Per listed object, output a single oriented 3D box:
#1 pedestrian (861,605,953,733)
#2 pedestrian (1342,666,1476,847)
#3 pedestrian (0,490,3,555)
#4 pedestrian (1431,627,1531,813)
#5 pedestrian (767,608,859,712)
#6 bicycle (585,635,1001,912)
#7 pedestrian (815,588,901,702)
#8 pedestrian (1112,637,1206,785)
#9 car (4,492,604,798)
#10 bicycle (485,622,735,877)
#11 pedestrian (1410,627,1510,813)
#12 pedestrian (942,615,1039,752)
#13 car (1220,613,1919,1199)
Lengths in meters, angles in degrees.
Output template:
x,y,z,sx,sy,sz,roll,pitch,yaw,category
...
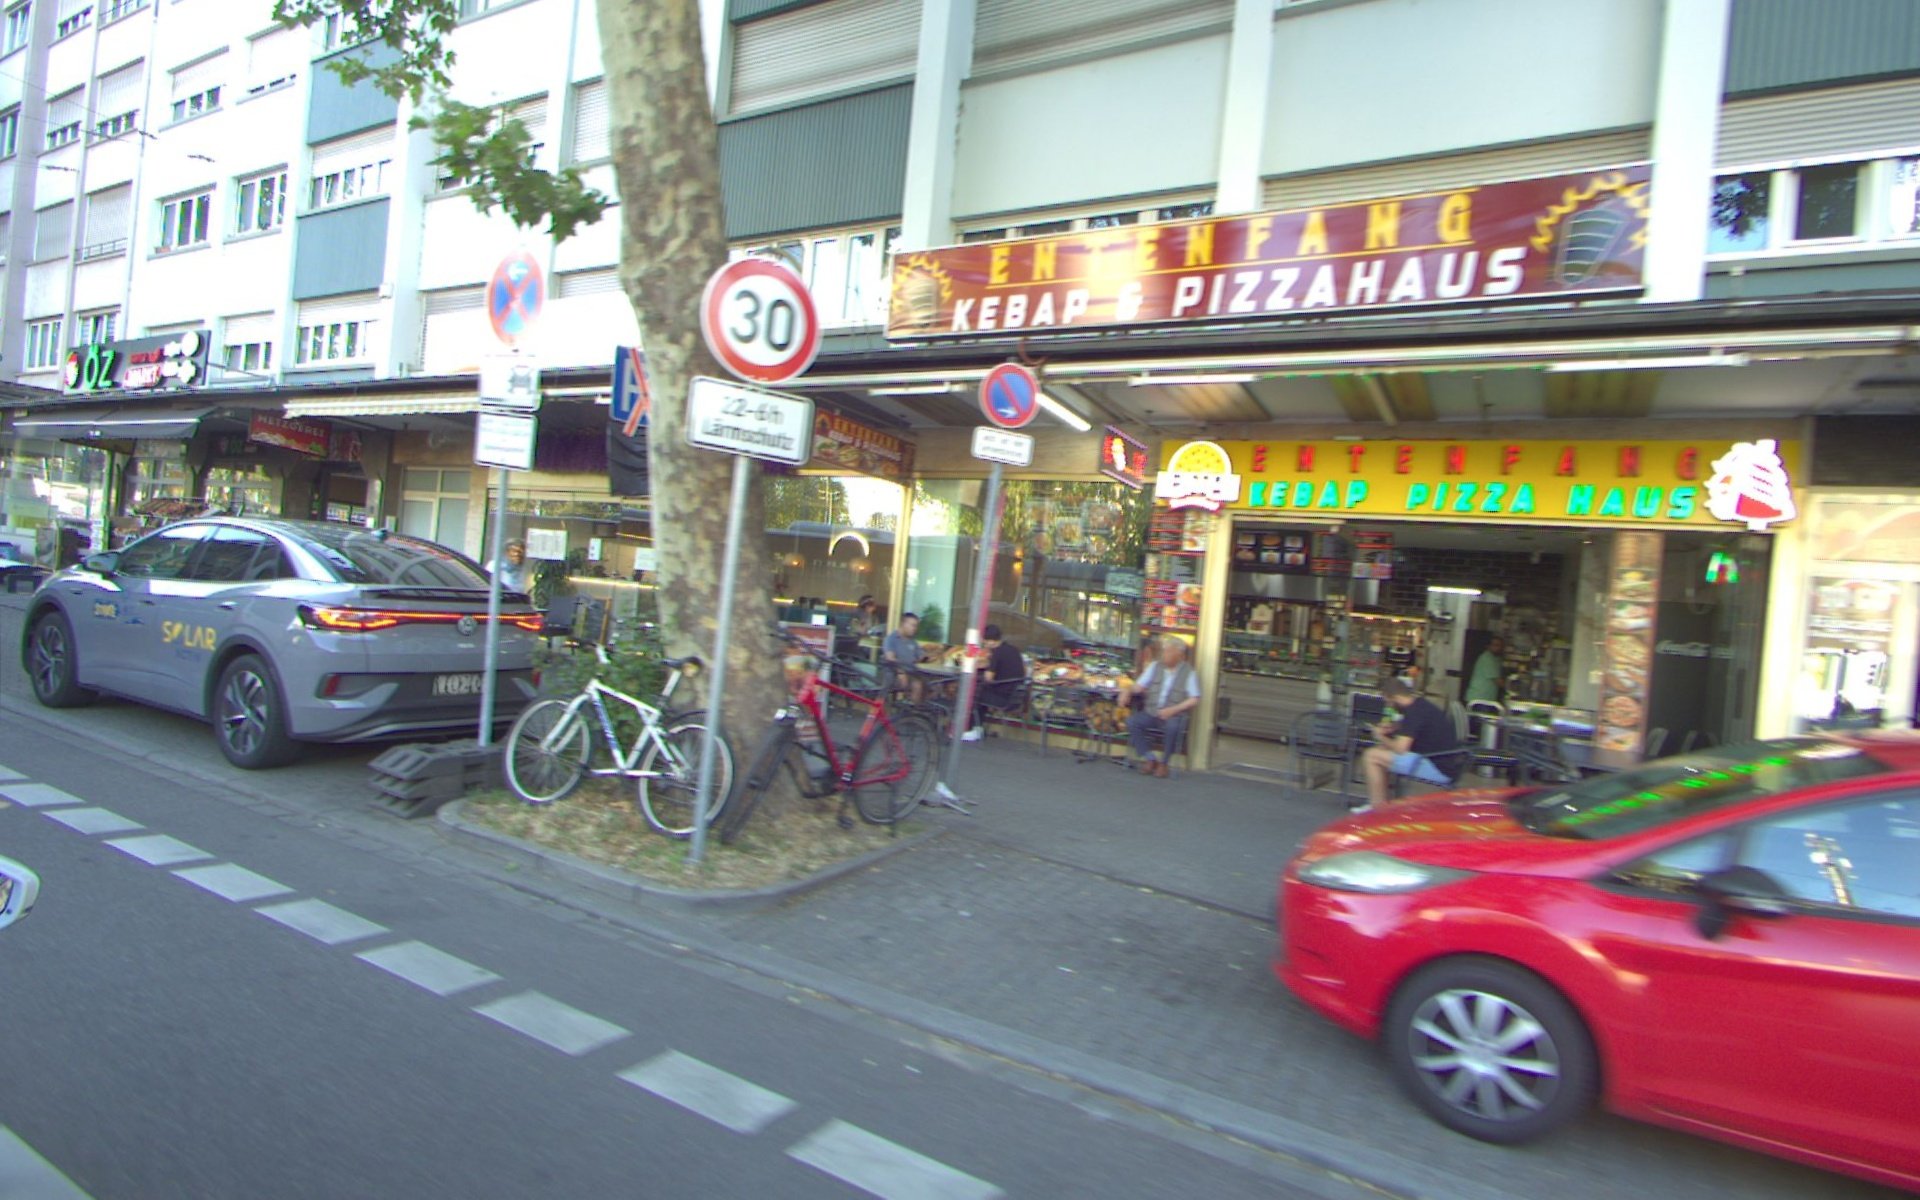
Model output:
x,y,z,sx,sy,sz,roll,pitch,yaw,category
-0.562,0.720,10.728,0.680,1.261,0.557,7,2,38,pedestrian
3.511,1.180,7.861,0.798,1.225,0.654,6,2,28,pedestrian
-18.986,-1.315,19.421,0.660,1.688,0.593,3,2,-42,pedestrian
4.727,1.065,9.113,0.589,1.560,0.700,6,0,34,pedestrian
-1.727,0.695,11.814,0.940,1.094,0.639,6,0,-8,pedestrian
-0.800,0.825,5.580,0.547,1.171,2.376,6,4,45,bicycle
-1.349,0.569,13.144,0.958,1.350,0.831,6,0,-8,pedestrian
1.846,1.000,9.288,0.550,1.252,0.689,6,2,29,pedestrian
-5.121,0.189,7.785,4.292,1.603,1.996,6,2,28,car
-2.020,0.785,5.731,1.422,1.169,0.552,6,0,37,bicycle
4.556,1.069,9.157,0.589,1.566,0.700,6,0,34,pedestrian
0.306,0.824,10.118,0.680,1.261,0.558,7,2,34,pedestrian
3.046,1.026,3.421,3.758,1.617,1.782,6,3,29,car
